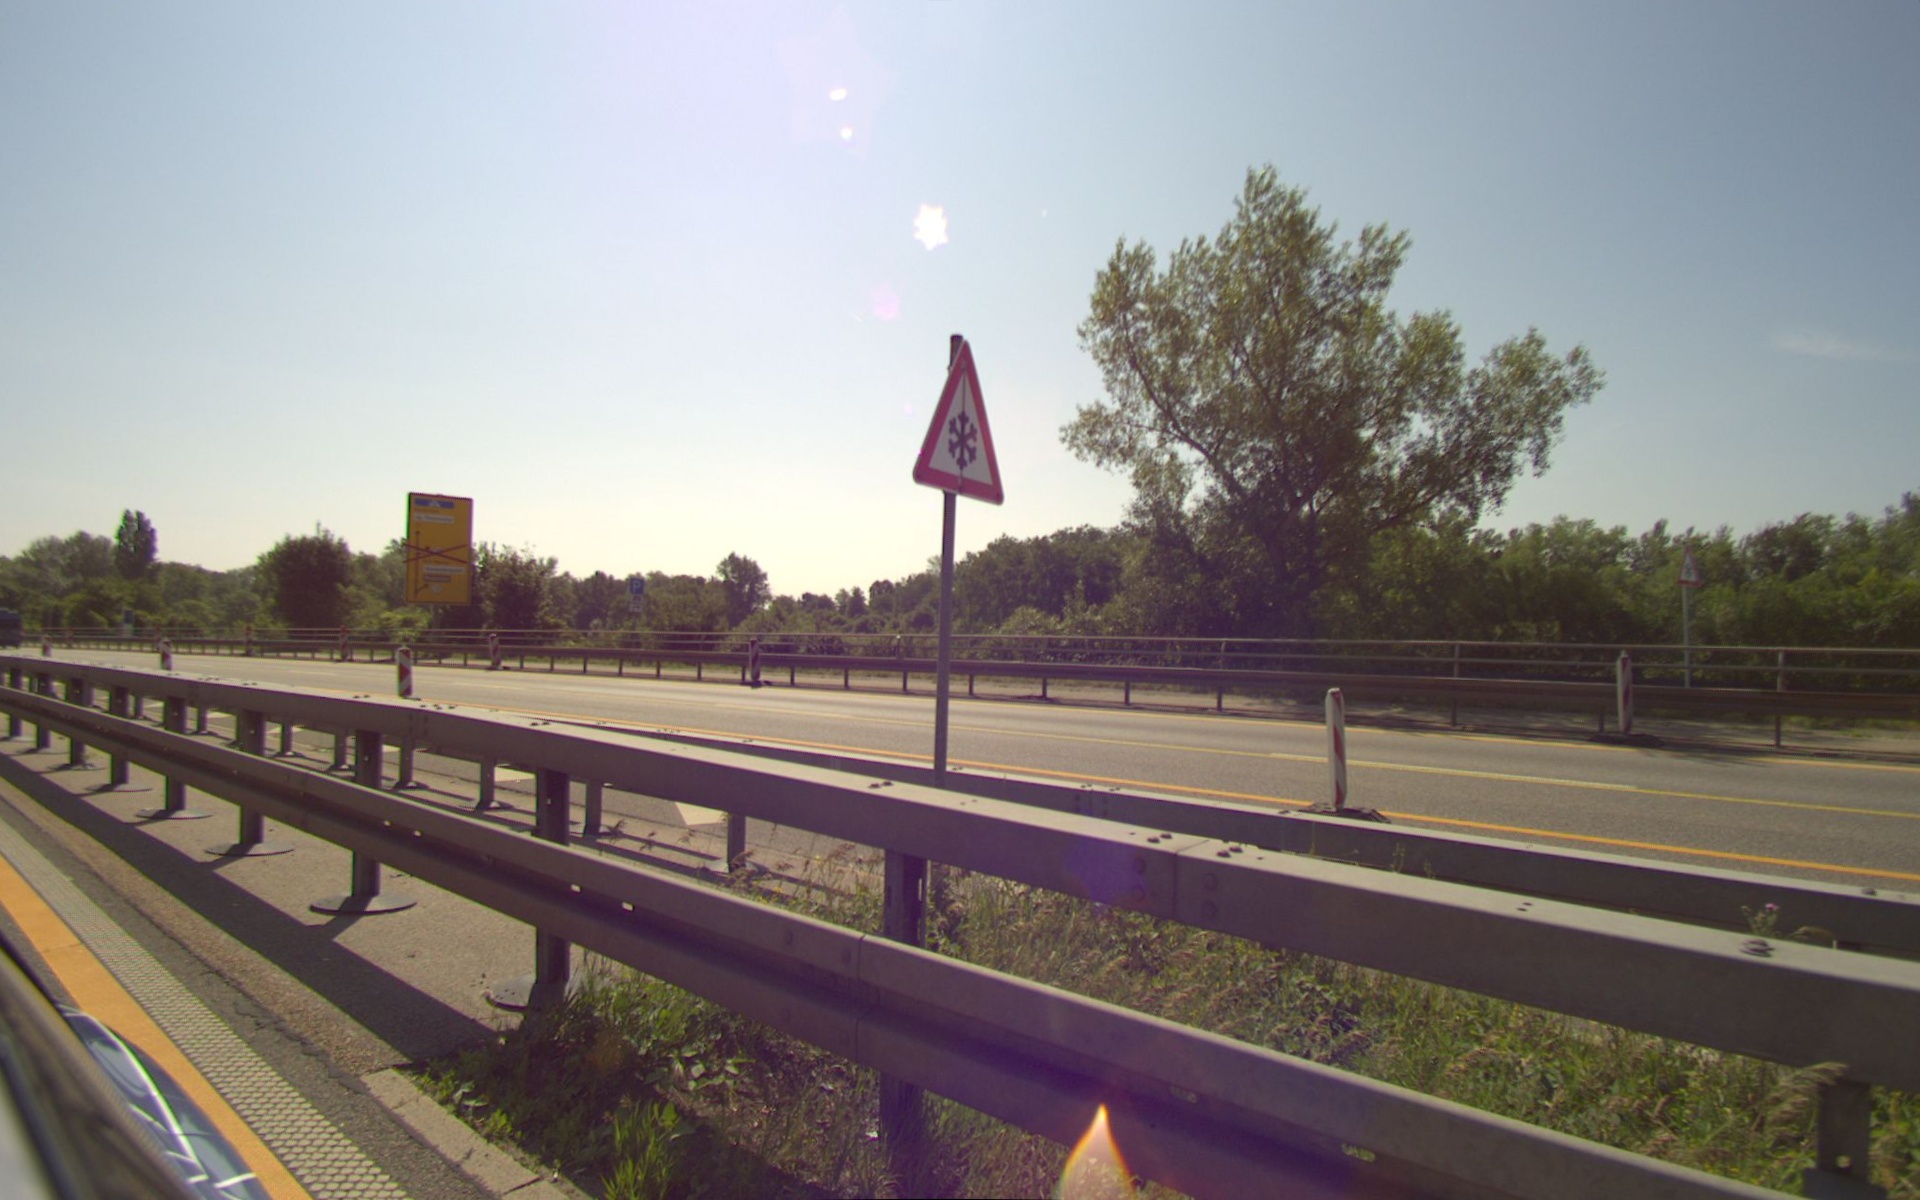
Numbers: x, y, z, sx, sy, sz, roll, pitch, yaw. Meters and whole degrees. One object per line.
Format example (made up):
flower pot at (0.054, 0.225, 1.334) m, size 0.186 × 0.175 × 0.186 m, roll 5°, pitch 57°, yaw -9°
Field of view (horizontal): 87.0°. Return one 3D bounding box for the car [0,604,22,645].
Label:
car at (-65.164, 1.635, 68.036) m, size 5.537 × 2.681 × 2.126 m, roll -1°, pitch -2°, yaw 38°
